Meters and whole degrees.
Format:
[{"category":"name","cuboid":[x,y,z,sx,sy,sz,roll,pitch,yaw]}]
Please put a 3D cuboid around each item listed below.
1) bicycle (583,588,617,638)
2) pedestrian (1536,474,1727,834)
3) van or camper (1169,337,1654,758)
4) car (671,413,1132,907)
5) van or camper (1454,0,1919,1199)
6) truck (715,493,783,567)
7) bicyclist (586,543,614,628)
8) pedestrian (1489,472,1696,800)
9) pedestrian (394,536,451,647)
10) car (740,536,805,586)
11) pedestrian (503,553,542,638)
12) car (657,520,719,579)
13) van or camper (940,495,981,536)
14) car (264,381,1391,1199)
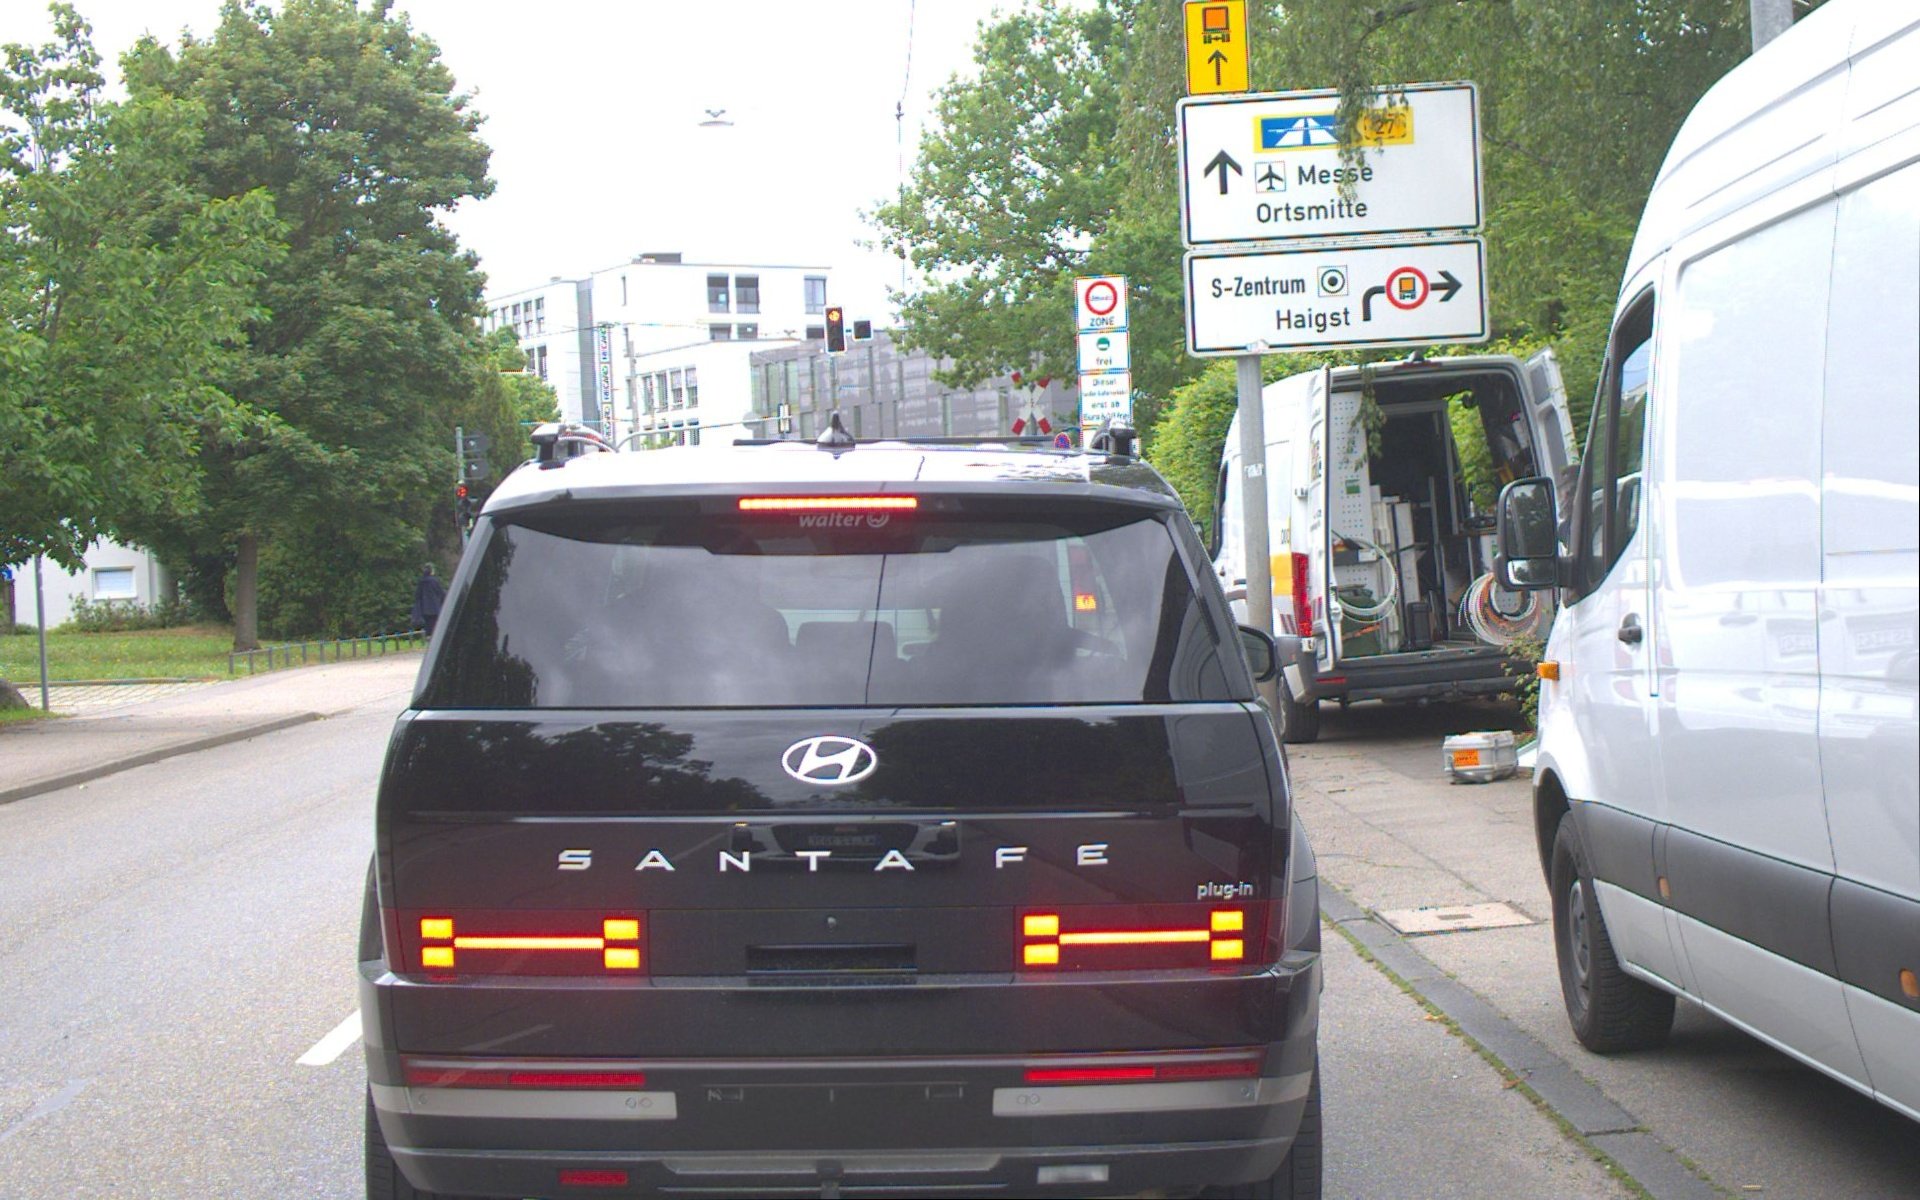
[{"category":"bicycle","cuboid":[-7.151,0.252,68.349,0.495,0.961,1.748,1,1,-1]},{"category":"pedestrian","cuboid":[3.188,0.249,16.376,0.736,1.638,0.801,-3,0,6]},{"category":"van or camper","cuboid":[3.089,-0.334,25.271,2.340,2.486,6.603,-5,0,-1]},{"category":"car","cuboid":[-0.268,0.232,16.340,1.897,2.035,3.994,1,1,-1]},{"category":"van or camper","cuboid":[2.610,-0.018,6.997,1.991,2.616,6.544,-5,1,-1]},{"category":"truck","cuboid":[-11.535,-3.780,187.217,3.107,3.846,9.623,-2,1,-6]},{"category":"bicyclist","cuboid":[-7.148,-0.296,68.270,0.487,1.678,0.588,1,0,-1]},{"category":"pedestrian","cuboid":[3.411,0.182,18.535,0.791,1.715,0.750,1,1,44]},{"category":"pedestrian","cuboid":[-9.816,-0.161,62.776,0.830,2.007,1.047,1,0,2]},{"category":"car","cuboid":[-5.873,-1.224,107.919,1.756,1.398,4.414,-4,1,-1]},{"category":"pedestrian","cuboid":[-9.138,-0.095,71.869,0.767,1.742,0.904,-1,0,-6]},{"category":"car","cuboid":[-11.432,-2.112,144.261,2.332,2.307,4.959,-2,1,-6]},{"category":"van or camper","cuboid":[0.009,-4.233,172.480,1.795,1.992,3.824,1,1,-4]},{"category":"car","cuboid":[-0.250,0.506,7.842,1.897,1.770,3.994,1,1,-1]}]
